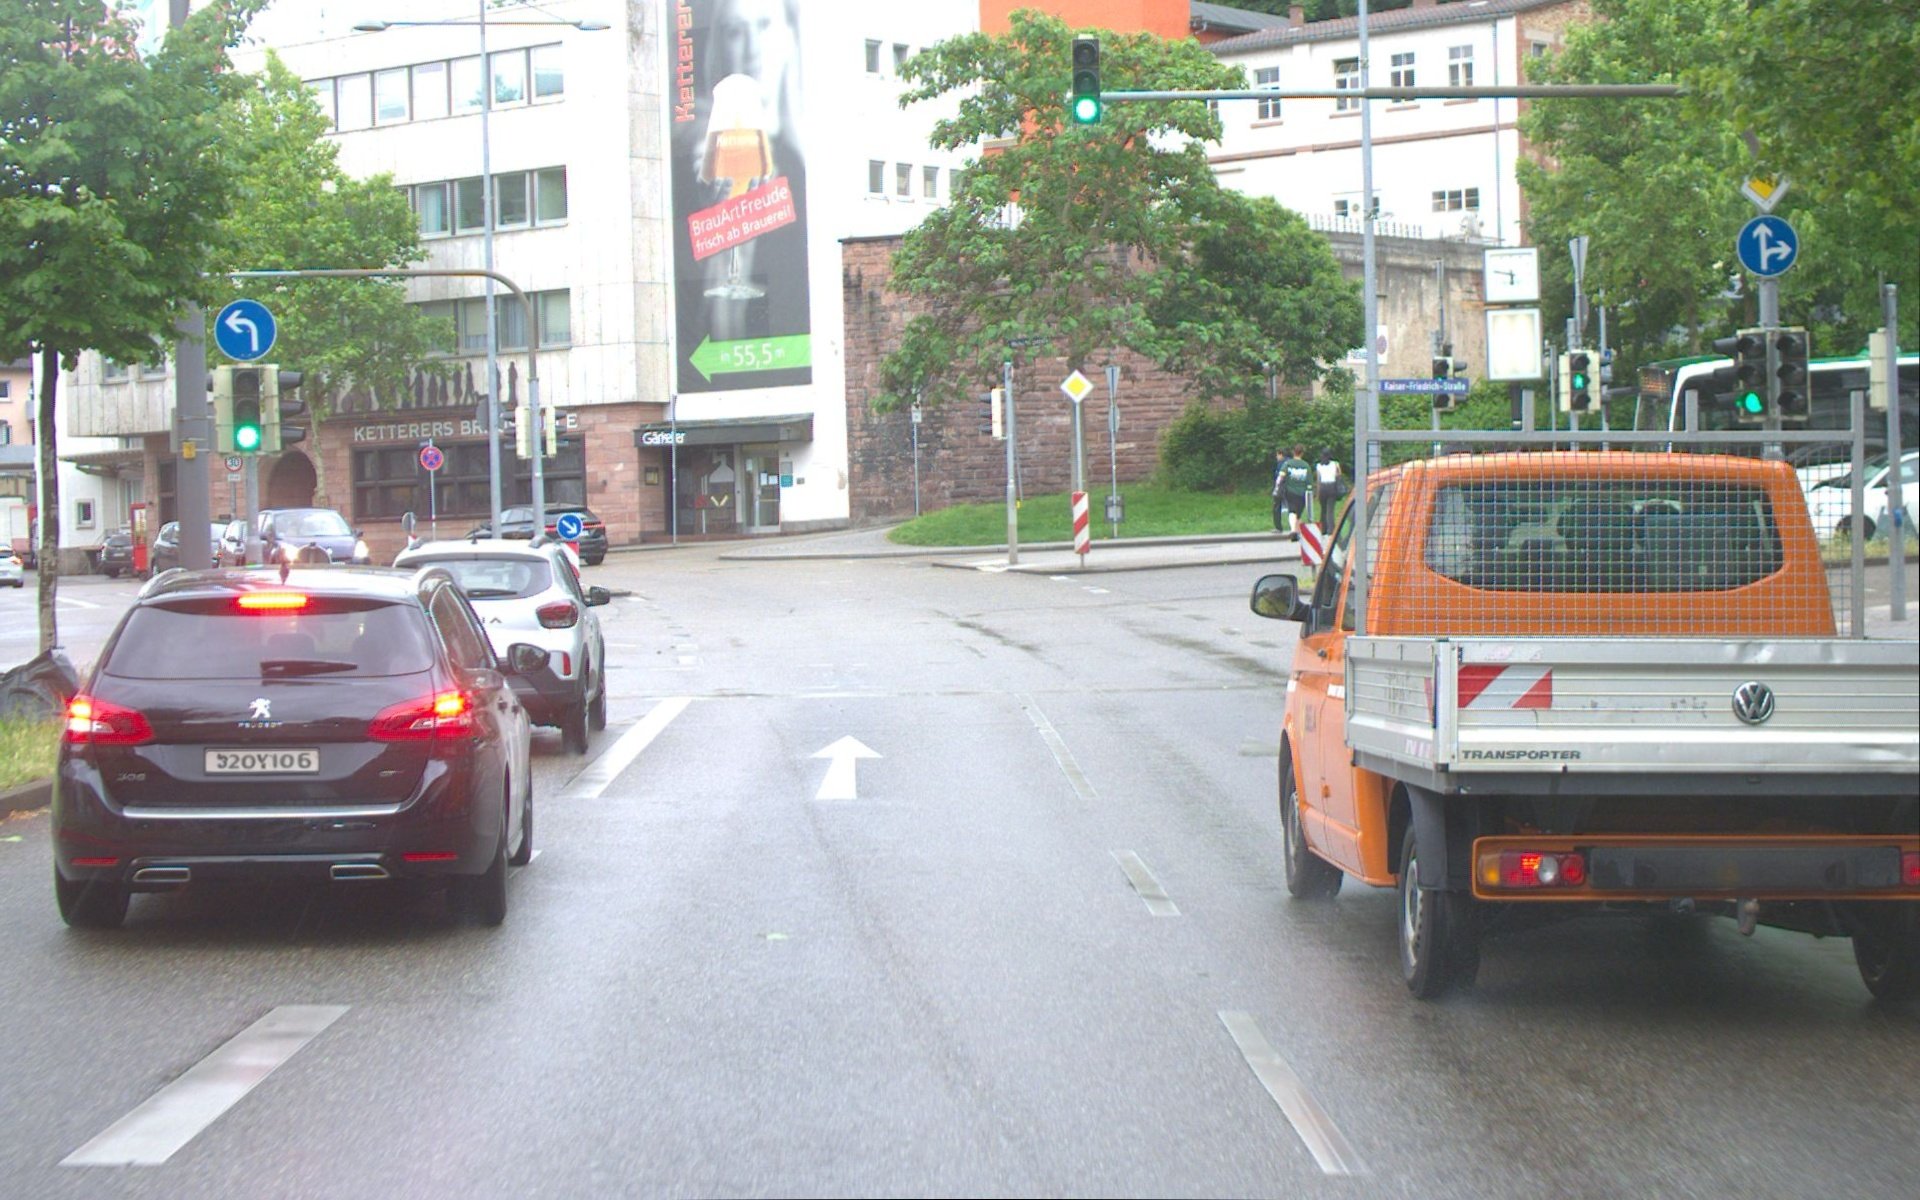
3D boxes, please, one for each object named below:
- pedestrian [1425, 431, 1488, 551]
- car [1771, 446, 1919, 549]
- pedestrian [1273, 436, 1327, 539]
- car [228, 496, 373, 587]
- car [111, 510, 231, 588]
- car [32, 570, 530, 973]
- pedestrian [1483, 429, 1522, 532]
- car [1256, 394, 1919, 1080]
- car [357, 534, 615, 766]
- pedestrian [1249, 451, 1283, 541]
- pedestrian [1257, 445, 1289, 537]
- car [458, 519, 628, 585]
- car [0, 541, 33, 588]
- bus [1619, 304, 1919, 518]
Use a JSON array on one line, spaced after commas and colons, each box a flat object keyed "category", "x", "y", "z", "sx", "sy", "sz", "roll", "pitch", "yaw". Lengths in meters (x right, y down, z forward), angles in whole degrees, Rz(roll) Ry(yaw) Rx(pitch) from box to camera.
[{"category": "pedestrian", "x": 8.496, "y": -1.865, "z": 58.812, "sx": 0.786, "sy": 2.006, "sz": 0.587, "roll": -1, "pitch": 4, "yaw": 35}, {"category": "car", "x": 14.272, "y": -1.582, "z": 52.008, "sx": 3.557, "sy": 1.446, "sz": 1.590, "roll": -2, "pitch": 3, "yaw": -3}, {"category": "pedestrian", "x": 6.126, "y": -2.024, "z": 61.981, "sx": 0.879, "sy": 1.825, "sz": 0.729, "roll": -1, "pitch": 1, "yaw": 0}, {"category": "car", "x": -12.766, "y": -1.150, "z": 66.400, "sx": 1.755, "sy": 1.609, "sz": 4.212, "roll": -4, "pitch": 3, "yaw": -24}, {"category": "car", "x": -17.666, "y": -1.162, "z": 76.894, "sx": 1.755, "sy": 1.609, "sz": 4.212, "roll": -4, "pitch": 3, "yaw": -24}, {"category": "car", "x": -2.866, "y": 0.612, "z": 14.975, "sx": 1.798, "sy": 1.429, "sz": 4.398, "roll": -1, "pitch": 1, "yaw": -9}, {"category": "pedestrian", "x": 9.249, "y": -2.035, "z": 58.592, "sx": 0.556, "sy": 1.699, "sz": 0.528, "roll": -3, "pitch": 3, "yaw": 12}, {"category": "car", "x": 2.434, "y": 0.368, "z": 13.290, "sx": 2.102, "sy": 2.082, "sz": 5.542, "roll": -1, "pitch": 1, "yaw": 0}, {"category": "car", "x": -3.371, "y": 0.302, "z": 24.965, "sx": 1.536, "sy": 1.456, "sz": 3.630, "roll": -2, "pitch": 2, "yaw": -3}, {"category": "pedestrian", "x": 5.510, "y": -1.872, "z": 61.878, "sx": 0.566, "sy": 1.610, "sz": 0.691, "roll": 0, "pitch": 0, "yaw": 2}, {"category": "pedestrian", "x": 6.117, "y": -2.132, "z": 67.181, "sx": 0.597, "sy": 1.775, "sz": 0.656, "roll": 0, "pitch": 0, "yaw": 9}, {"category": "car", "x": -9.390, "y": -1.057, "z": 77.080, "sx": 1.790, "sy": 1.398, "sz": 4.633, "roll": 2, "pitch": -1, "yaw": -35}, {"category": "car", "x": -30.812, "y": -1.135, "z": 107.483, "sx": 3.864, "sy": 1.391, "sz": 1.666, "roll": 2, "pitch": 4, "yaw": 42}, {"category": "bus", "x": 15.703, "y": -3.129, "z": 55.213, "sx": 9.626, "sy": 3.205, "sz": 2.706, "roll": -2, "pitch": 3, "yaw": -3}]
